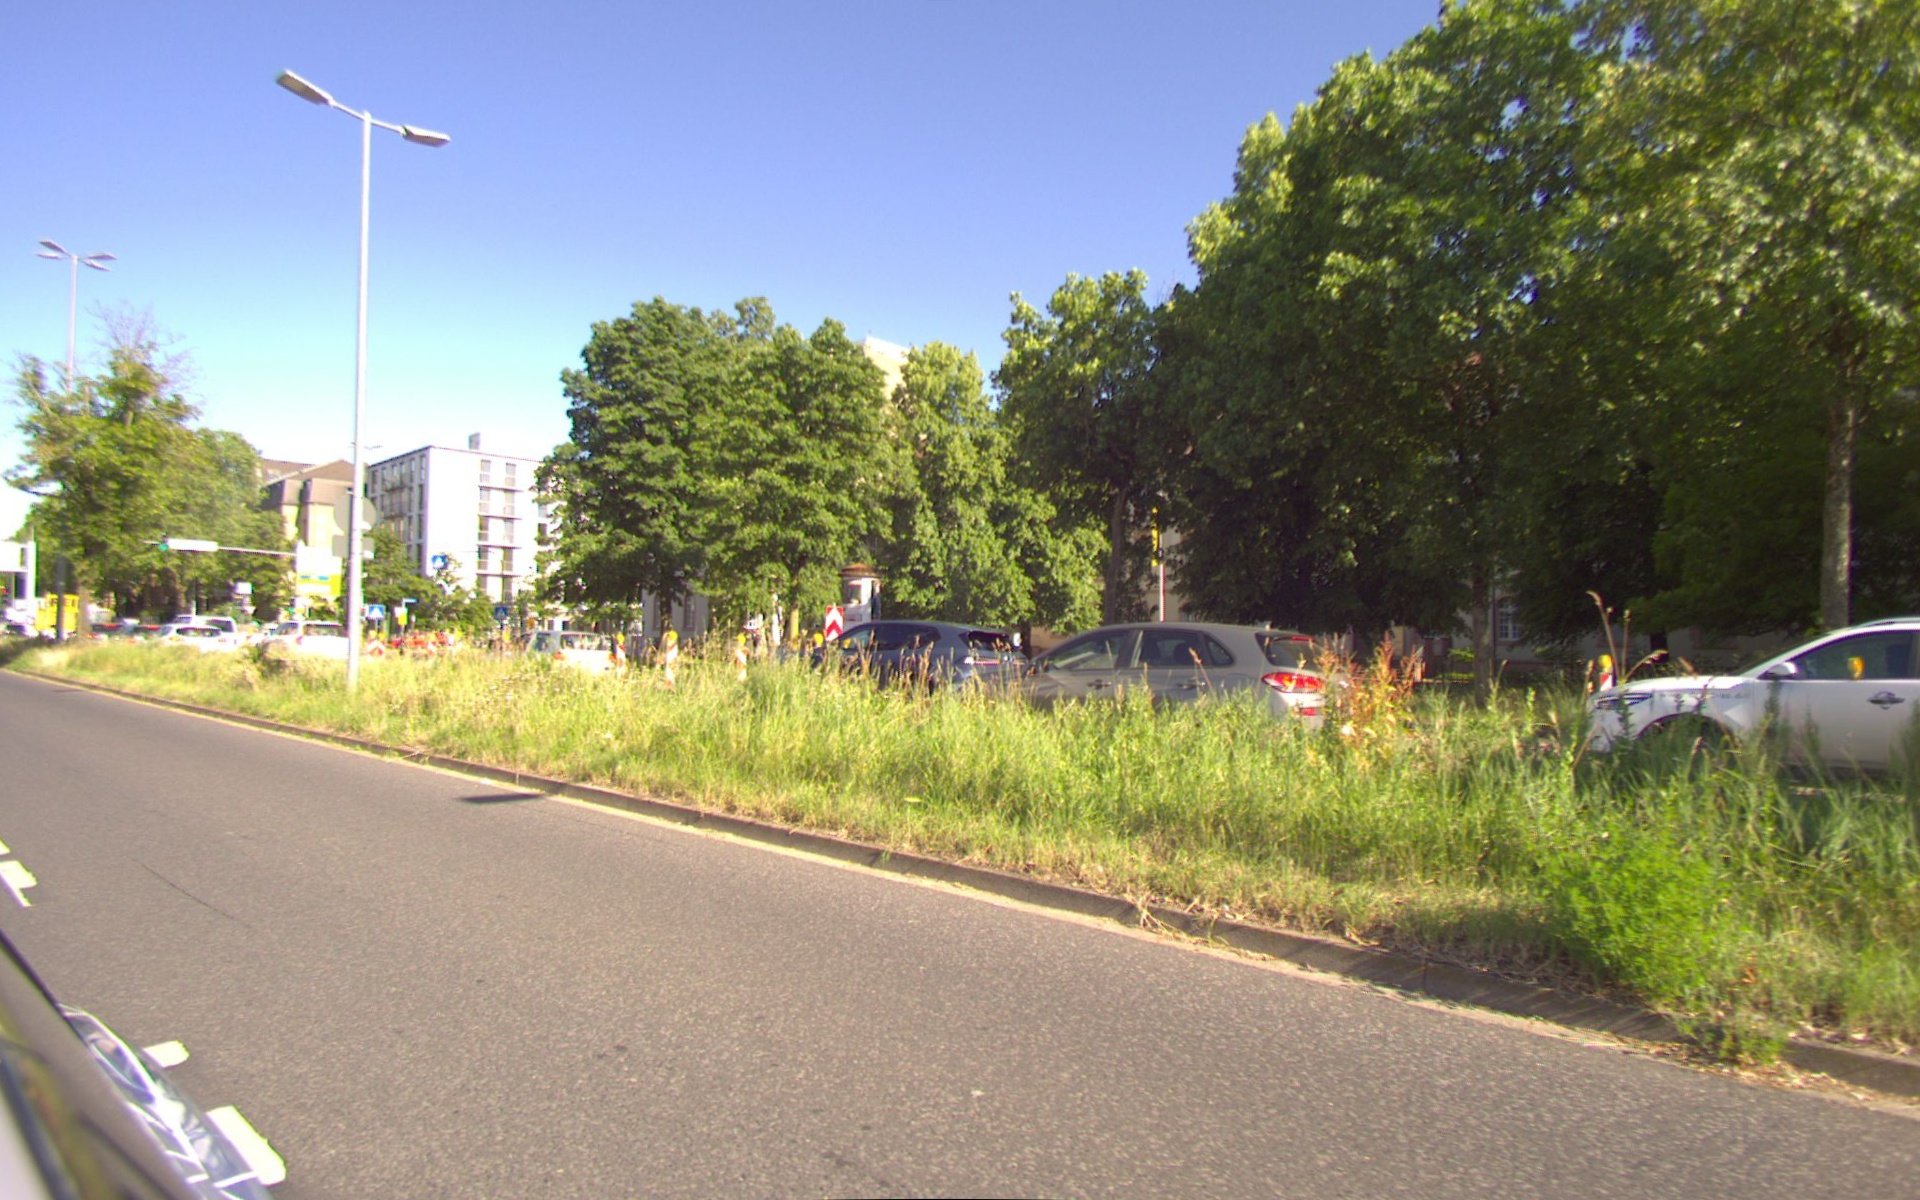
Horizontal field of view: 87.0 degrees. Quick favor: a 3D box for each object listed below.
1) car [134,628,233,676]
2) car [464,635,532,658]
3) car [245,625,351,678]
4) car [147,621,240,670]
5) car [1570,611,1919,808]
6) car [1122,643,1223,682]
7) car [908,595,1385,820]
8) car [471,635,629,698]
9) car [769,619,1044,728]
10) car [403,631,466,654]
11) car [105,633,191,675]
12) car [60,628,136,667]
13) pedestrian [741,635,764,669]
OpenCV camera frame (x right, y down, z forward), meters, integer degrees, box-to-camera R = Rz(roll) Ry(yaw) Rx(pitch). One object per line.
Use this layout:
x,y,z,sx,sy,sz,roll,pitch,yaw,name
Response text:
-26.095,1.701,33.981,4.202,1.530,1.777,-1,-3,40,car
-37.010,3.705,81.143,4.637,1.630,1.922,2,1,-40,car
-23.501,1.787,35.867,5.028,1.756,1.777,-1,-3,41,car
-33.726,1.949,44.485,5.014,2.043,2.210,-1,-2,41,car
7.887,0.882,8.735,4.255,1.530,1.777,-1,-3,41,car
10.556,3.066,50.427,4.684,1.503,1.625,3,1,41,car
1.657,0.842,9.979,4.322,1.630,1.735,2,1,42,car
-9.966,1.555,24.478,4.255,1.362,1.777,-1,-3,40,car
-0.969,1.087,16.330,4.441,1.530,1.777,-1,-2,41,car
-40.238,3.209,77.503,3.937,1.630,1.922,2,1,-40,car
-31.326,2.028,39.001,4.360,1.530,1.777,-2,-2,41,car
-36.716,1.991,43.074,4.344,1.530,1.777,-1,-1,41,car
-9.563,2.387,46.644,0.780,1.547,0.733,-2,-3,36,pedestrian
